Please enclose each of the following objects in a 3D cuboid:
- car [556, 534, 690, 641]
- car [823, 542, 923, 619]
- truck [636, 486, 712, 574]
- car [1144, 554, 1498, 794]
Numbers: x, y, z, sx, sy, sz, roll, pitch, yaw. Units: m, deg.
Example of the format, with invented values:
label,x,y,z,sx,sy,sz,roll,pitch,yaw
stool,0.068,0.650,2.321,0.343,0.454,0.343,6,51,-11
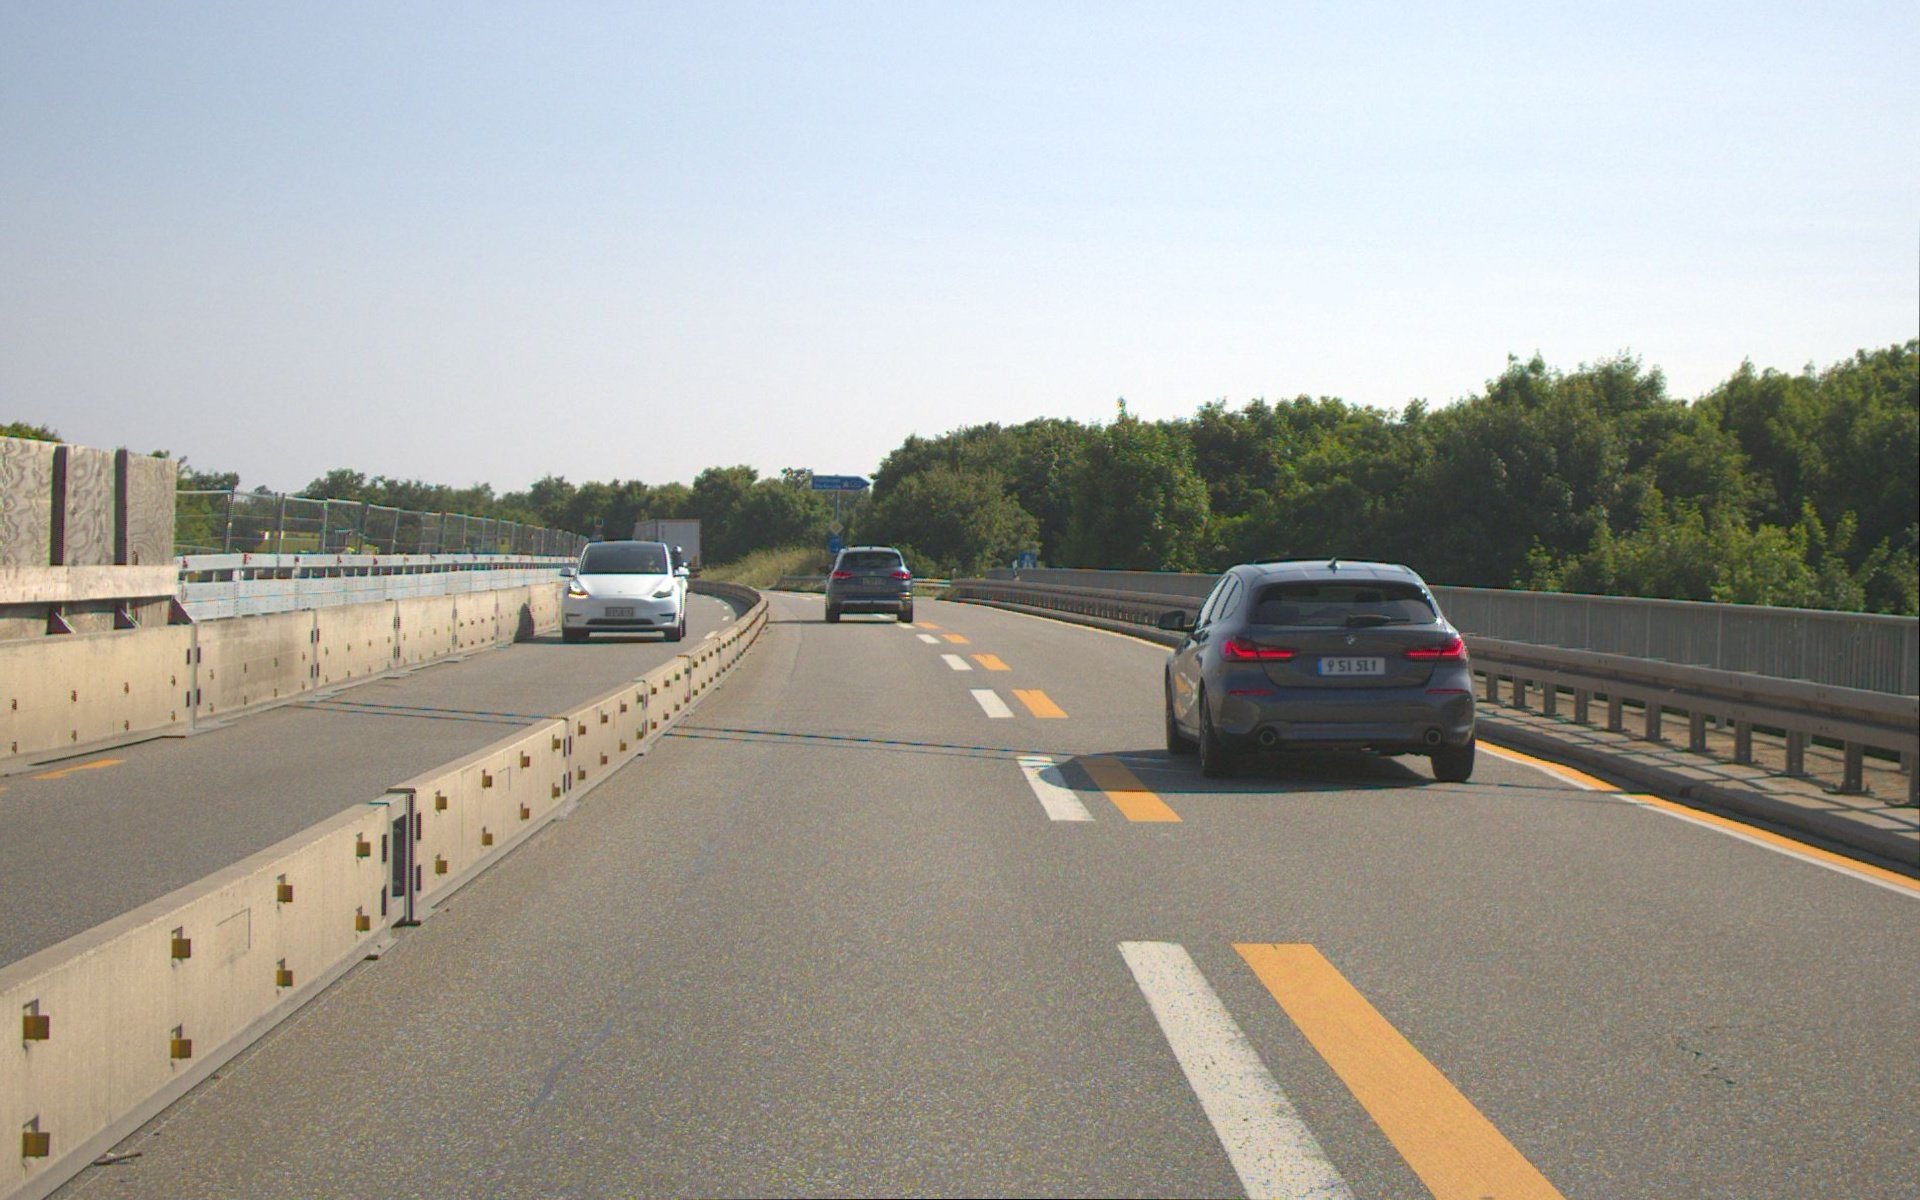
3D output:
label,x,y,z,sx,sy,sz,roll,pitch,yaw
car,-5.553,-0.243,57.103,1.981,1.645,4.549,2,1,-3
car,-1.821,-0.437,73.302,1.993,1.561,4.000,1,1,0
truck,-16.841,-4.108,201.809,3.760,4.894,14.140,2,1,-7
car,2.390,0.442,23.726,1.920,1.488,4.000,0,1,-1
